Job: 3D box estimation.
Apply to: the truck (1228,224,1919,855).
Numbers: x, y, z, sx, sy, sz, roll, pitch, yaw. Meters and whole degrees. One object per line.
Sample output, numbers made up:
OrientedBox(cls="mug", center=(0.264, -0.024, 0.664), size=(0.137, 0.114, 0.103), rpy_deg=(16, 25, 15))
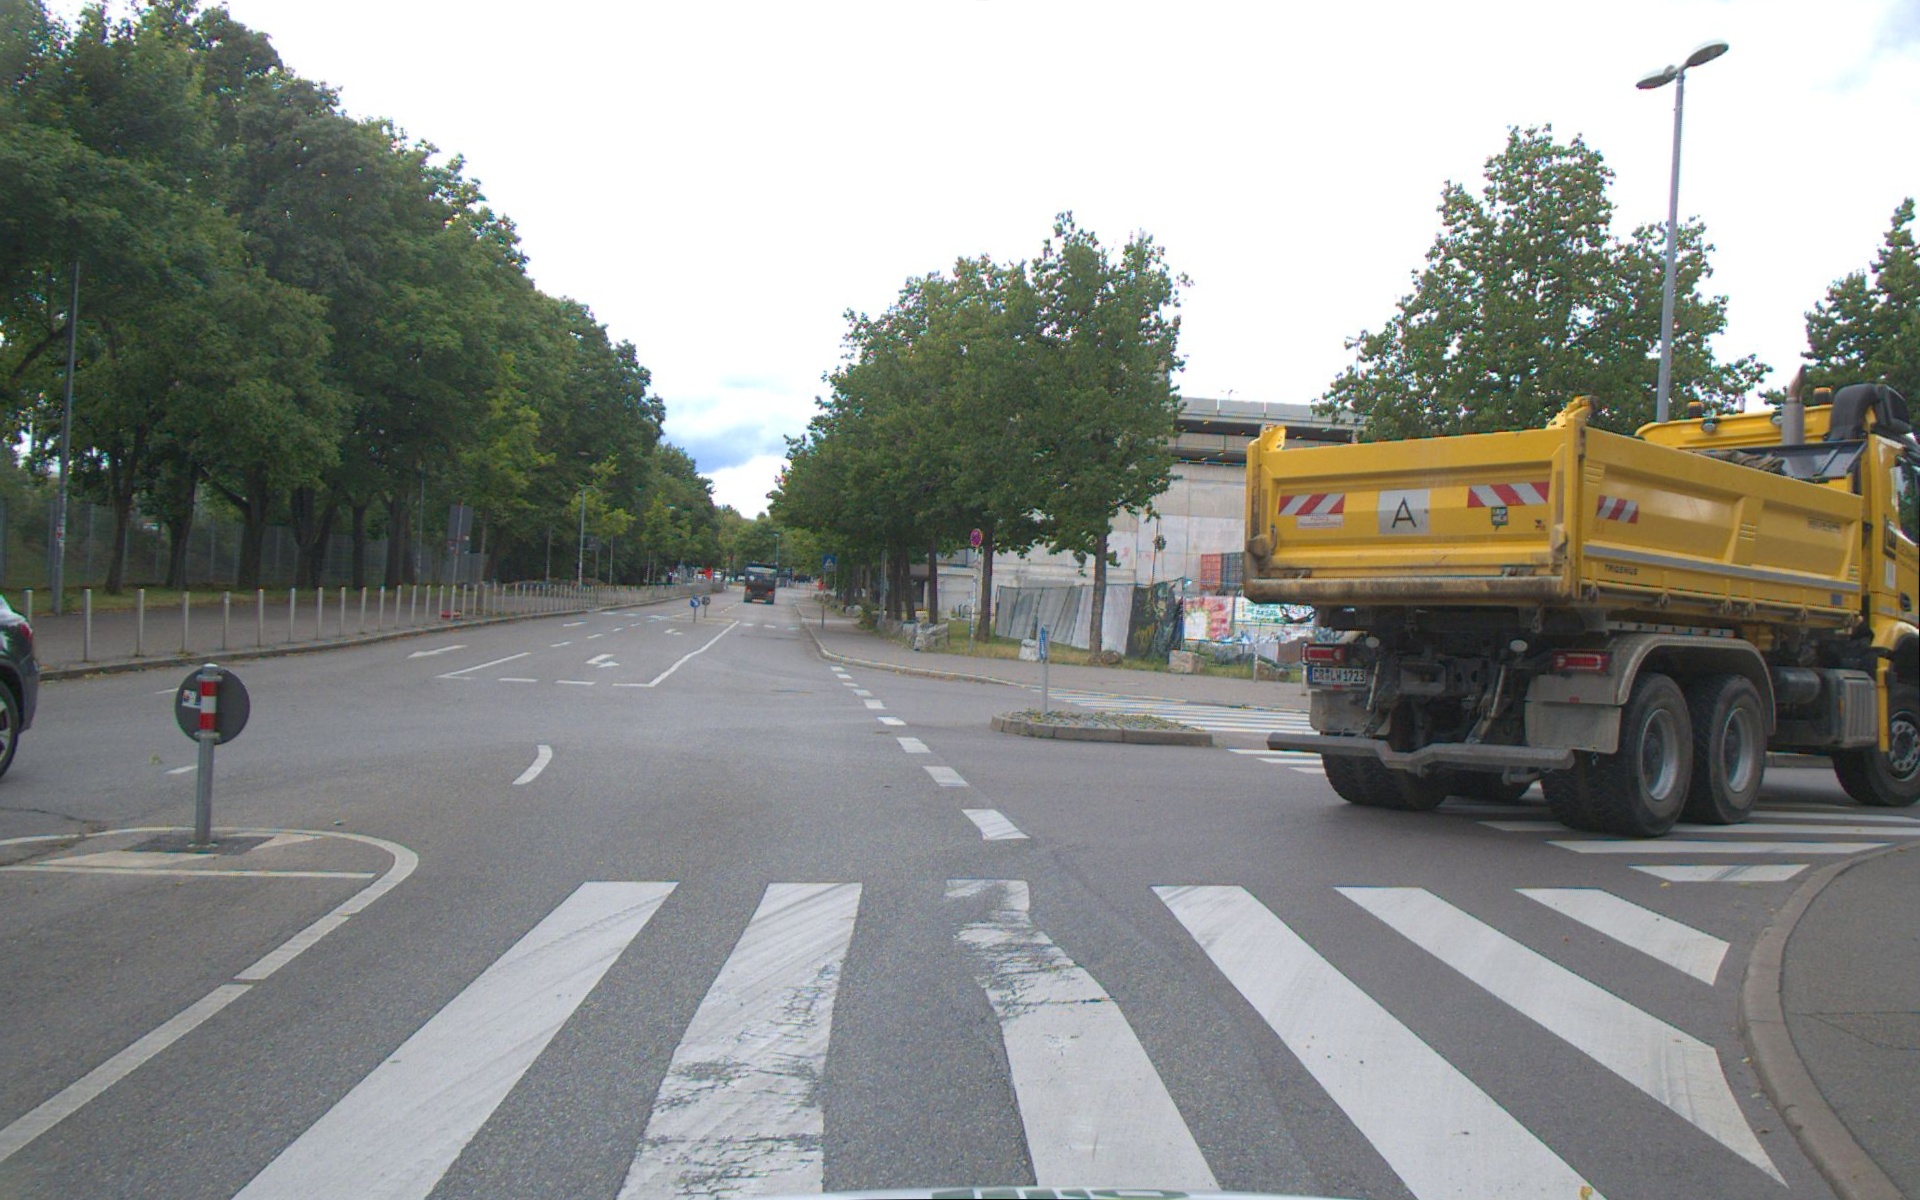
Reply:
OrientedBox(cls="truck", center=(5.653, -0.241, 13.584), size=(7.820, 3.764, 2.722), rpy_deg=(3, -2, -45))

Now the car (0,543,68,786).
OrientedBox(cls="car", center=(-7.221, 0.413, 9.355), size=(1.802, 1.601, 4.550), rpy_deg=(2, 1, 0))

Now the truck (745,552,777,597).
OrientedBox(cls="truck", center=(-16.748, -2.097, 139.095), size=(2.622, 3.621, 7.911), rpy_deg=(0, 0, -7))
